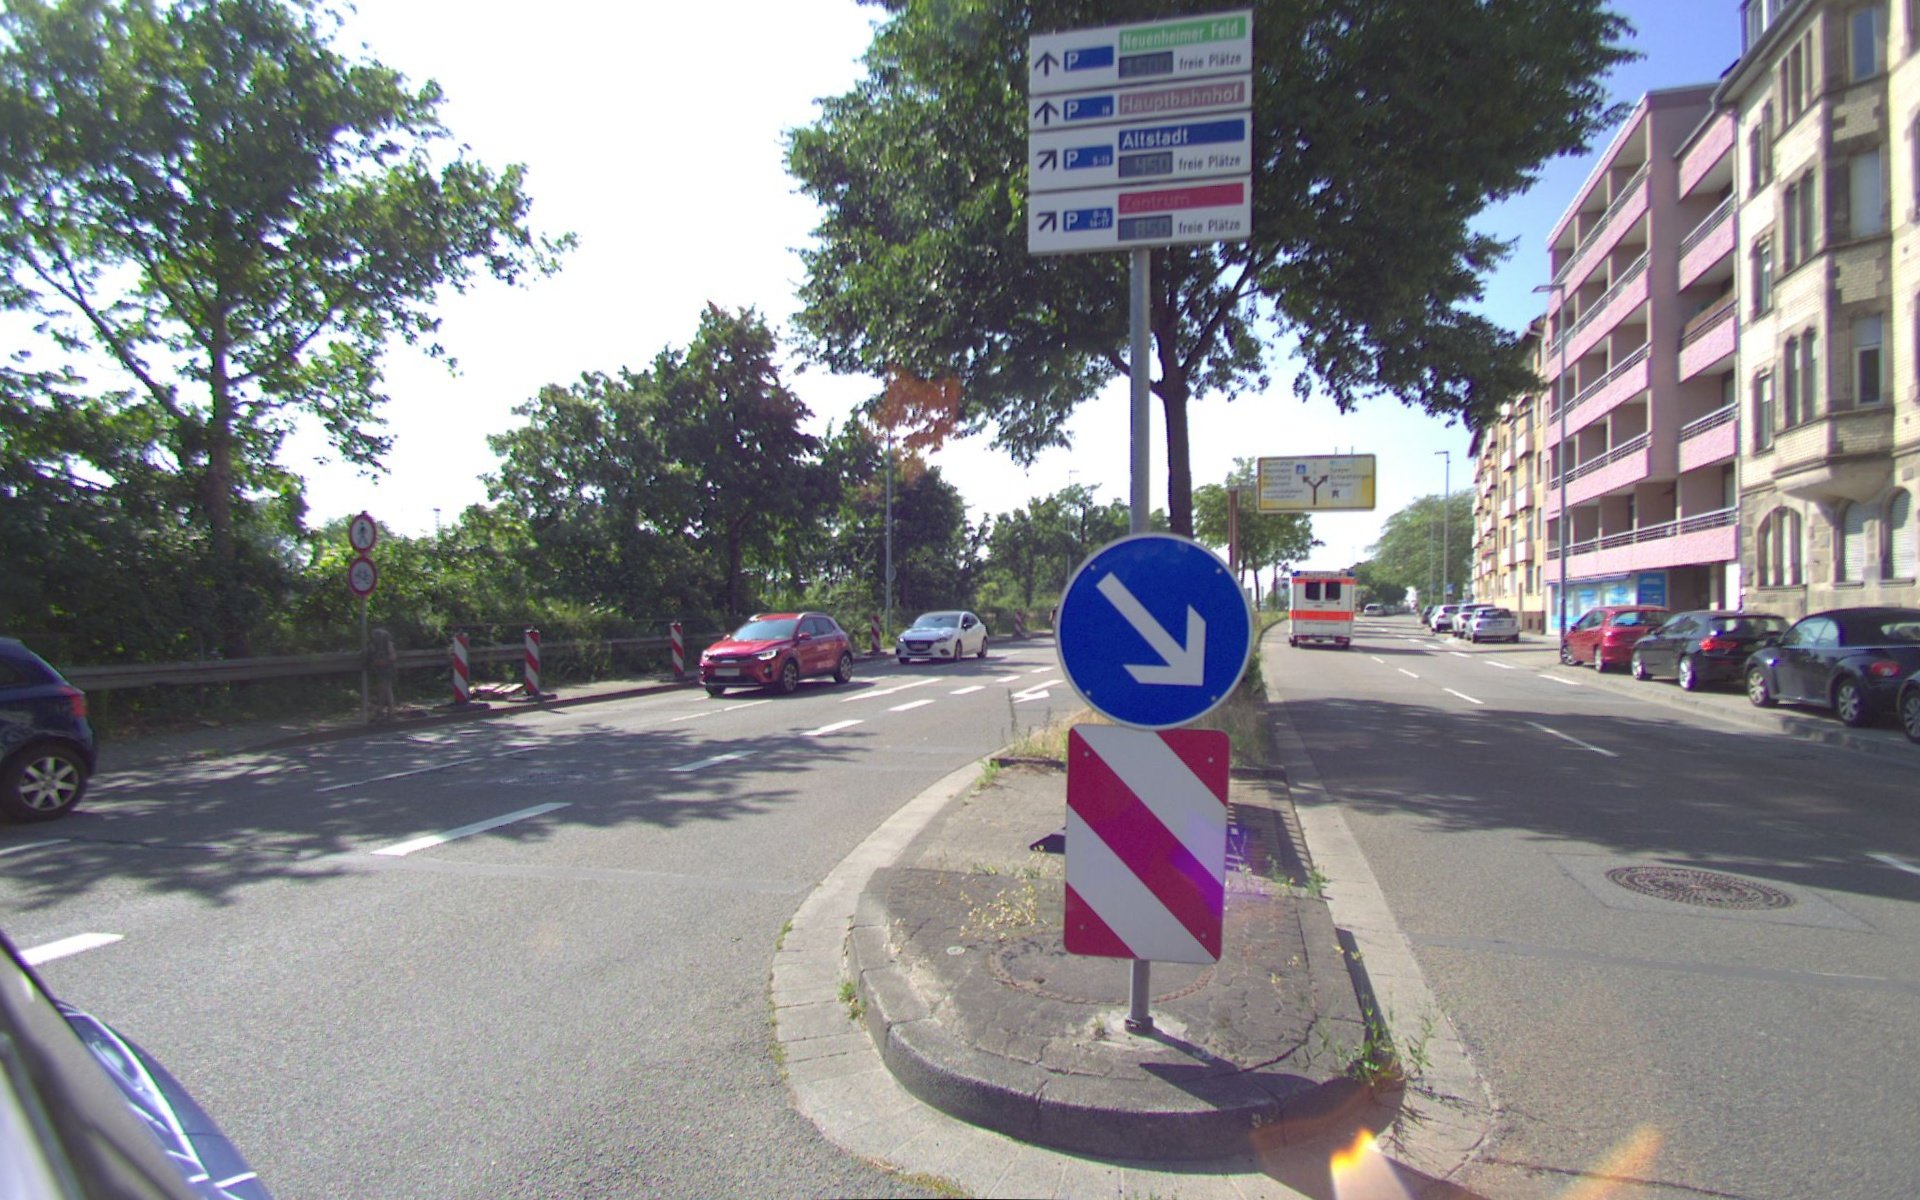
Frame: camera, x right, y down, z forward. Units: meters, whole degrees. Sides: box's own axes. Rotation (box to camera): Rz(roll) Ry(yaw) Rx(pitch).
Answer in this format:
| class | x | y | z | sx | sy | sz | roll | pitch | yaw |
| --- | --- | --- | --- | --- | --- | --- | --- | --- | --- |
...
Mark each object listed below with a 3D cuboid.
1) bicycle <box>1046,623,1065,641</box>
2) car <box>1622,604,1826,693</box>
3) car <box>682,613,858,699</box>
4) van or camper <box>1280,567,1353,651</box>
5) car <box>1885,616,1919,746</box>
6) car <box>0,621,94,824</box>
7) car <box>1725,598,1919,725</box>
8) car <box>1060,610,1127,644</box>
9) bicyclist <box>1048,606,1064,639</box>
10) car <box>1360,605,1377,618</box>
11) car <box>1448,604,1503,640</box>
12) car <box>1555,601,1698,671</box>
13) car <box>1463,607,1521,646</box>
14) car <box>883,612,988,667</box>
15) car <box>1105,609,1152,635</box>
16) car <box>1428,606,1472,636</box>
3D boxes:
| class | x | y | z | sx | sy | sz | roll | pitch | yaw |
| --- | --- | --- | --- | --- | --- | --- | --- | --- | --- |
| bicycle | 4.536 | 1.506 | 47.976 | 0.491 | 0.839 | 1.795 | -1 | -1 | 19 |
| car | 14.012 | 0.829 | 18.856 | 1.633 | 1.464 | 4.105 | 0 | -1 | 16 |
| car | -3.666 | 1.042 | 20.247 | 1.788 | 1.531 | 3.940 | -1 | -1 | 18 |
| van or camper | 12.896 | 0.331 | 36.922 | 2.284 | 2.810 | 5.539 | 0 | -1 | 17 |
| car | 11.066 | 0.869 | 9.574 | 1.730 | 1.427 | 4.059 | -1 | -1 | 16 |
| car | -8.315 | 0.935 | 6.706 | 1.632 | 1.512 | 3.629 | -2 | -1 | 17 |
| car | 12.420 | 0.746 | 13.926 | 1.633 | 1.512 | 3.989 | -1 | -1 | 16 |
| car | 6.005 | 1.166 | 45.040 | 1.985 | 1.422 | 4.584 | -2 | -1 | 20 |
| bicyclist | 4.570 | 1.046 | 48.068 | 0.571 | 1.545 | 0.774 | -1 | -1 | 19 |
| car | 49.253 | 1.378 | 121.967 | 1.616 | 1.517 | 3.431 | 1 | 0 | 25 |
| car | 23.031 | 0.958 | 45.327 | 1.729 | 1.553 | 4.323 | -1 | -1 | 21 |
| car | 15.465 | 0.803 | 23.716 | 1.776 | 1.493 | 3.975 | -1 | -1 | 19 |
| car | 21.378 | 1.047 | 40.771 | 1.672 | 1.419 | 3.405 | -2 | -1 | 22 |
| car | -0.621 | 1.104 | 29.652 | 1.854 | 1.464 | 4.181 | -2 | -1 | 17 |
| car | 10.612 | 1.347 | 63.377 | 1.986 | 1.540 | 4.665 | -2 | -1 | 21 |
| car | 26.373 | 1.087 | 54.575 | 1.750 | 1.517 | 4.098 | 1 | 0 | 21 |
